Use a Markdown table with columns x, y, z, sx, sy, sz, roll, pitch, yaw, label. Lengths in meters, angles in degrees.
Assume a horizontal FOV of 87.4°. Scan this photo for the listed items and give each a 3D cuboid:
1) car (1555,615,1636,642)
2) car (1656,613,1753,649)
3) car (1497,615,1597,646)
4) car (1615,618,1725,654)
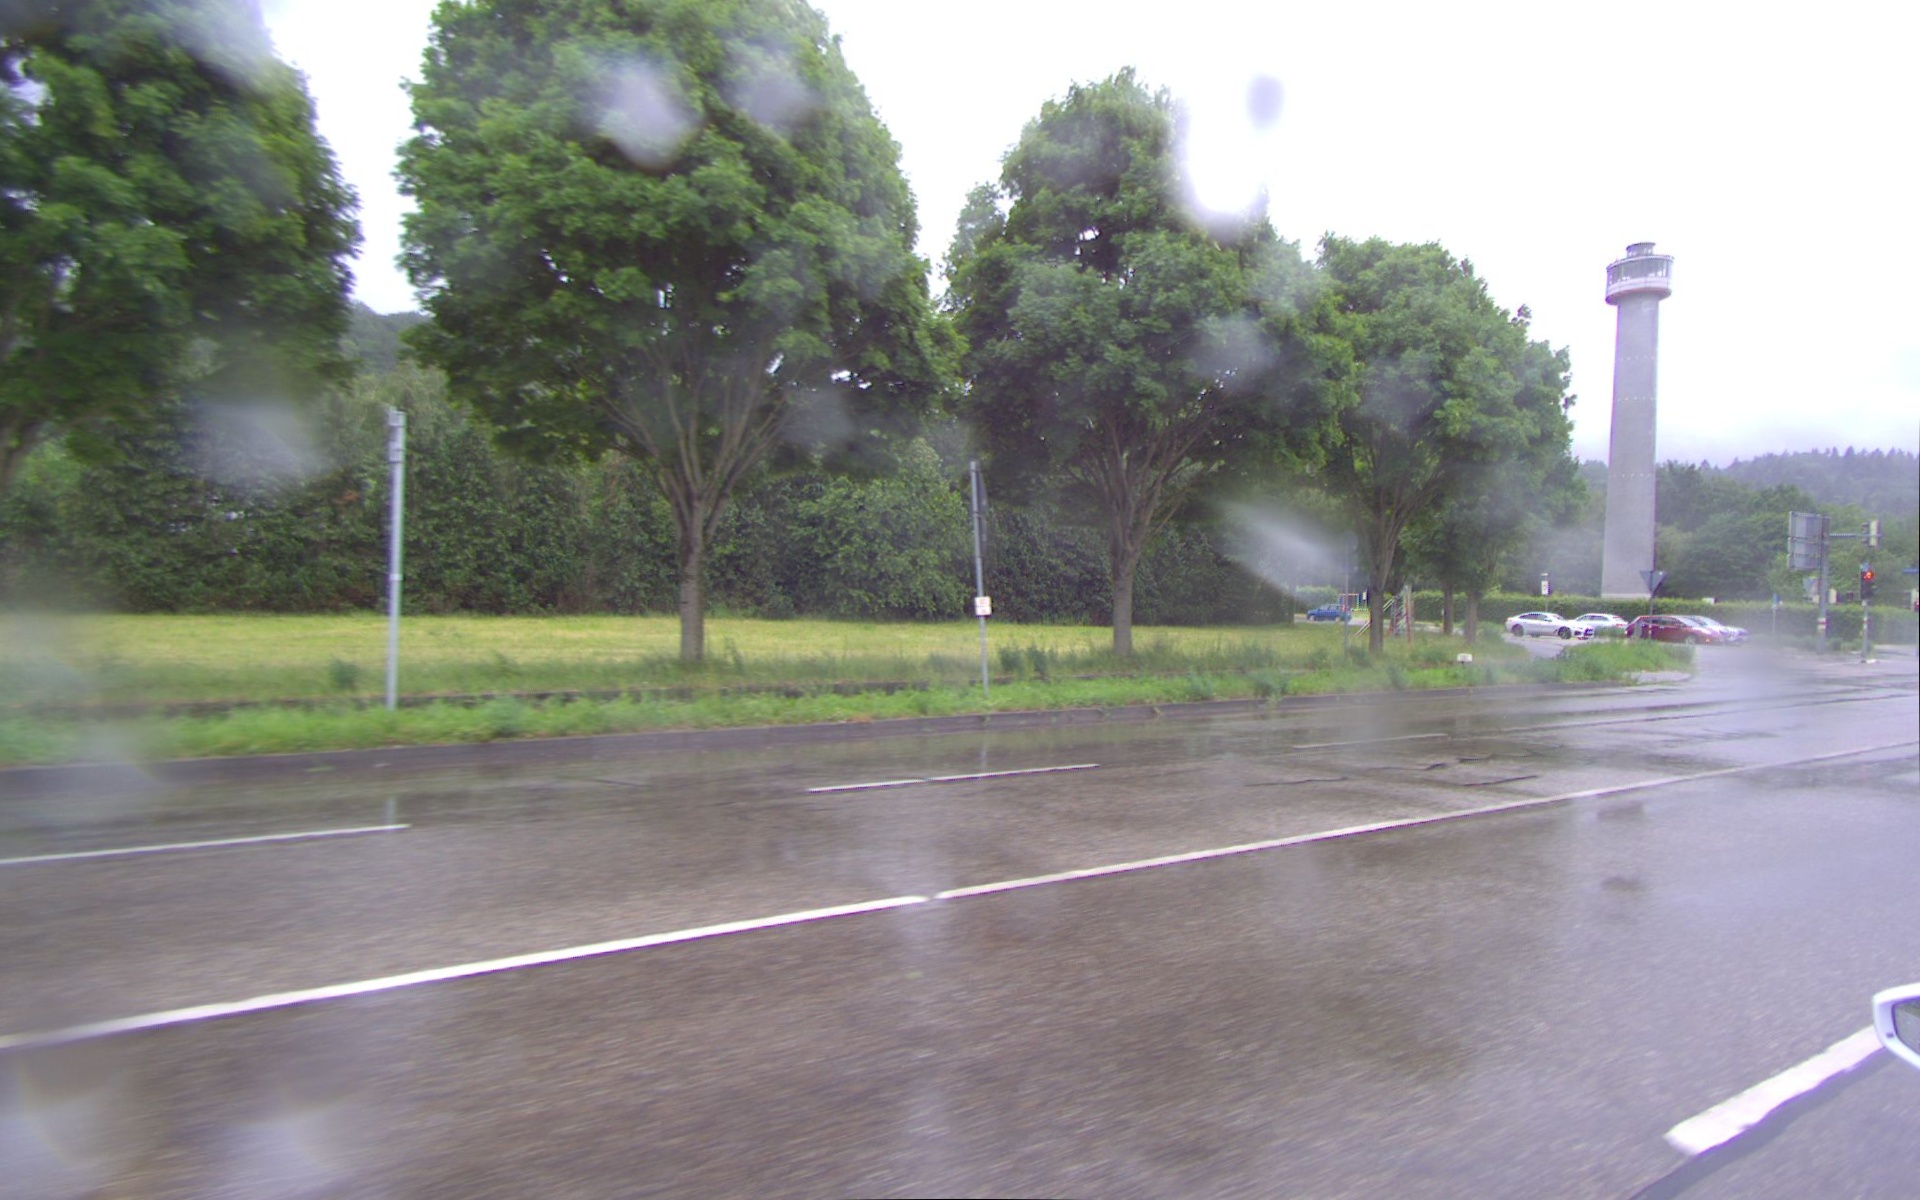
| x | y | z | sx | sy | sz | roll | pitch | yaw | label |
| --- | --- | --- | --- | --- | --- | --- | --- | --- | --- |
| 43.135 | 1.890 | 68.244 | 1.719 | 1.601 | 4.337 | 1 | 1 | -40 | car |
| 40.069 | 1.660 | 54.140 | 1.722 | 1.734 | 3.791 | 1 | 1 | -24 | car |
| 33.929 | 1.744 | 58.217 | 1.775 | 1.574 | 4.868 | 1 | 0 | -24 | car |
| 36.869 | 1.857 | 52.274 | 1.709 | 1.601 | 4.362 | 1 | 1 | -24 | car |
